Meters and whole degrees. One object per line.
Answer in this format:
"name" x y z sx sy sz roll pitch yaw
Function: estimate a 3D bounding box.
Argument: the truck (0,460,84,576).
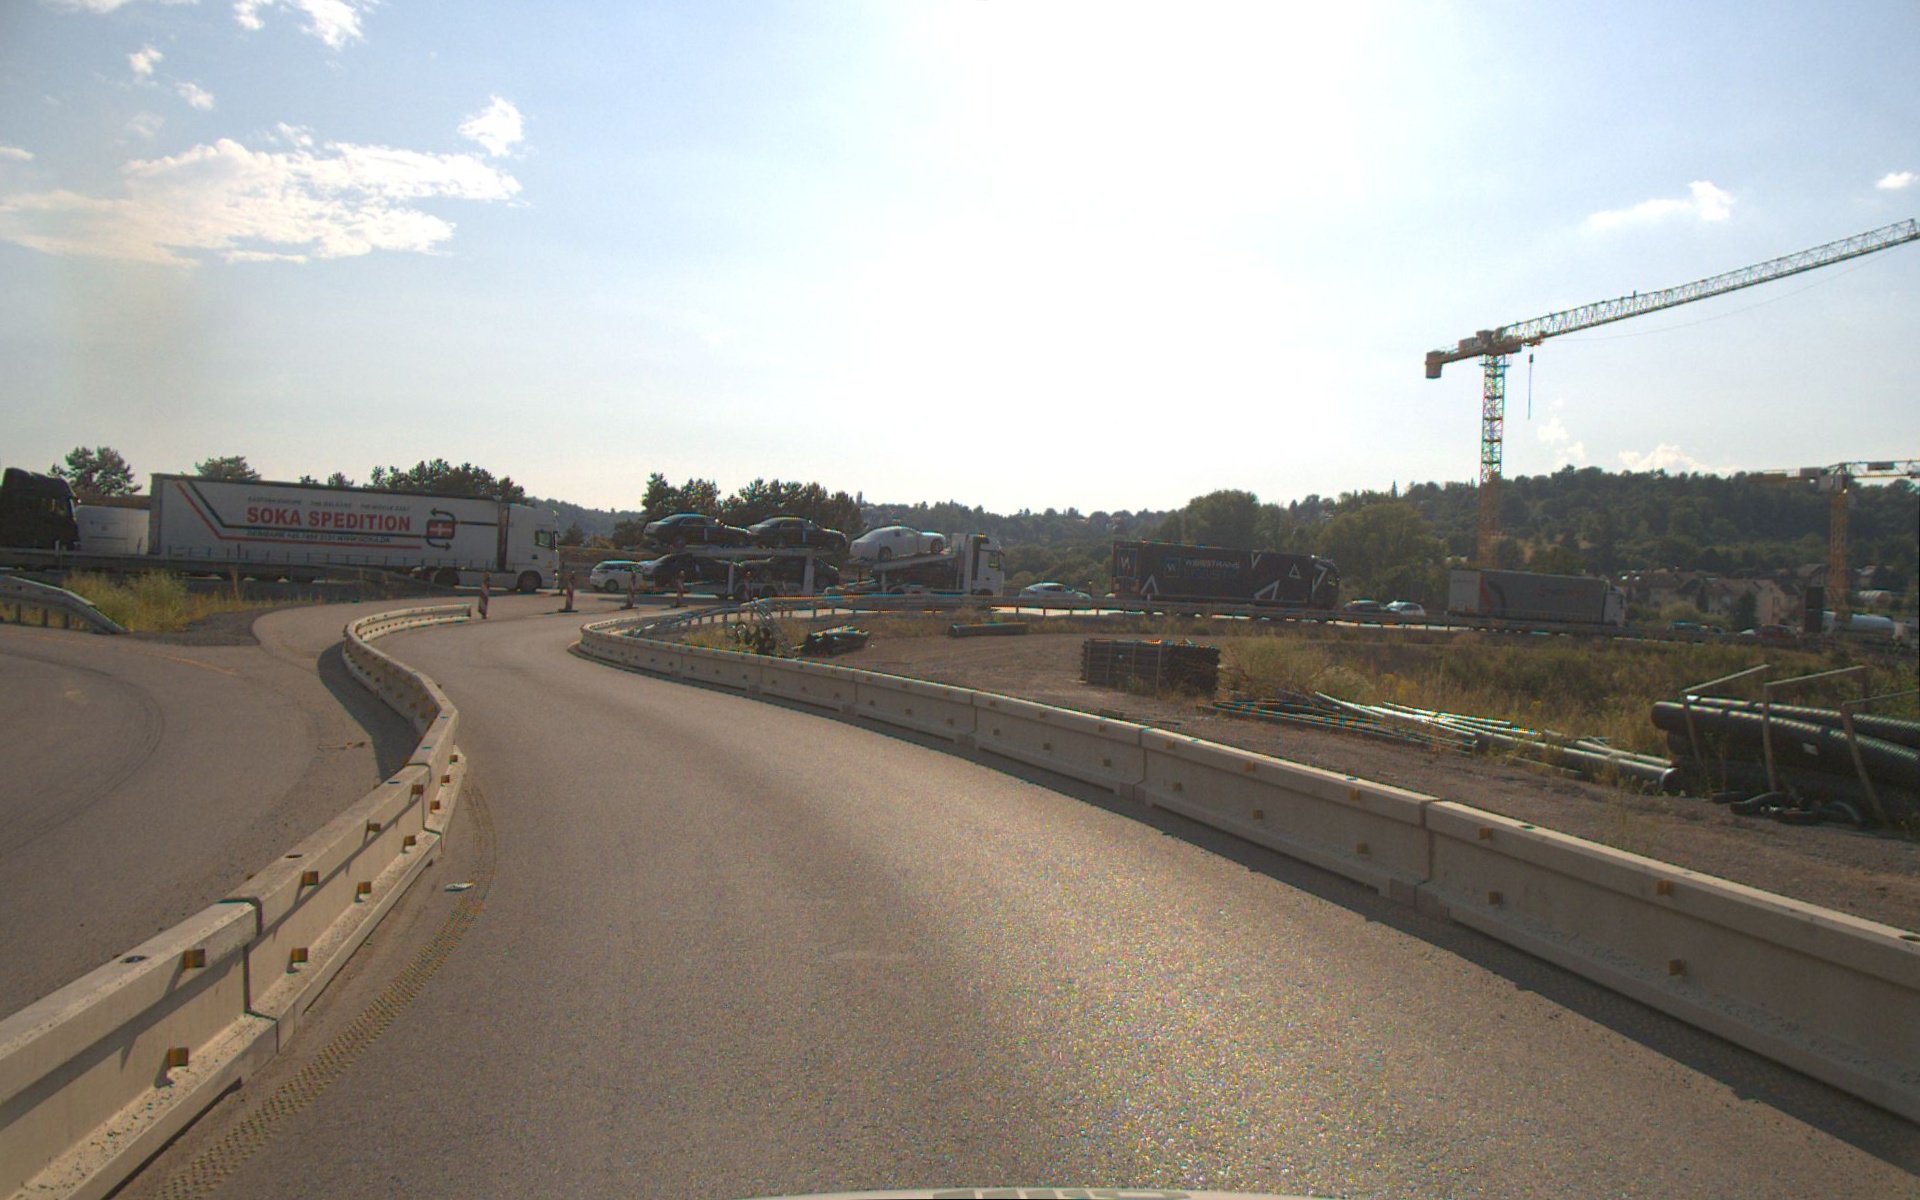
"truck" -36.287 -3.158 61.664 5.947 4.130 2.456 3 0 -37

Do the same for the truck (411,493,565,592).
"truck" -20.799 -2.509 72.986 5.942 3.945 2.458 3 0 -35

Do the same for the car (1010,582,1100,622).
"car" 5.534 0.146 95.894 4.919 2.015 2.012 2 2 -34

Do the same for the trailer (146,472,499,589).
"trailer" -26.294 -2.772 69.031 13.473 3.945 2.458 3 0 -36

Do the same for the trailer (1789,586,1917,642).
"trailer" 76.091 1.262 140.711 14.572 4.066 3.355 3 0 -35

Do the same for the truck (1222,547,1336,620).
"truck" 19.502 -0.977 100.957 6.543 4.066 2.861 3 0 -34

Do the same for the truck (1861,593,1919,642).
"truck" 82.652 1.582 145.353 6.547 4.066 3.361 3 0 -35

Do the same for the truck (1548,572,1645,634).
"truck" 45.911 0.203 119.307 6.547 4.066 3.314 3 0 -35

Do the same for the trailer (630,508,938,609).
"trailer" -8.382 -1.926 81.477 15.561 4.066 2.832 3 0 -35

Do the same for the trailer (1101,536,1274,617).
"trailer" 13.425 -1.322 96.865 10.661 4.163 2.934 3 -1 -34

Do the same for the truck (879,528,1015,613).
"truck" -0.659 -1.530 86.950 6.547 4.066 2.824 3 0 -35

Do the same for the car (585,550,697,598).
"car" -15.503 -1.270 80.489 4.919 2.015 2.012 2 2 -34

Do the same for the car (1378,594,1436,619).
"car" 31.783 0.474 117.558 4.186 1.526 1.643 2 2 -34

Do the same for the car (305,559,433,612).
"car" -26.006 -0.622 72.812 4.919 2.015 2.012 2 2 -34

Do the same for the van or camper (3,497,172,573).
"van or camper" -35.307 -2.615 67.010 5.828 2.665 1.978 3 1 -33

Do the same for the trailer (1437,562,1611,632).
"trailer" 39.196 -0.148 114.558 14.572 4.066 3.355 3 0 -35
